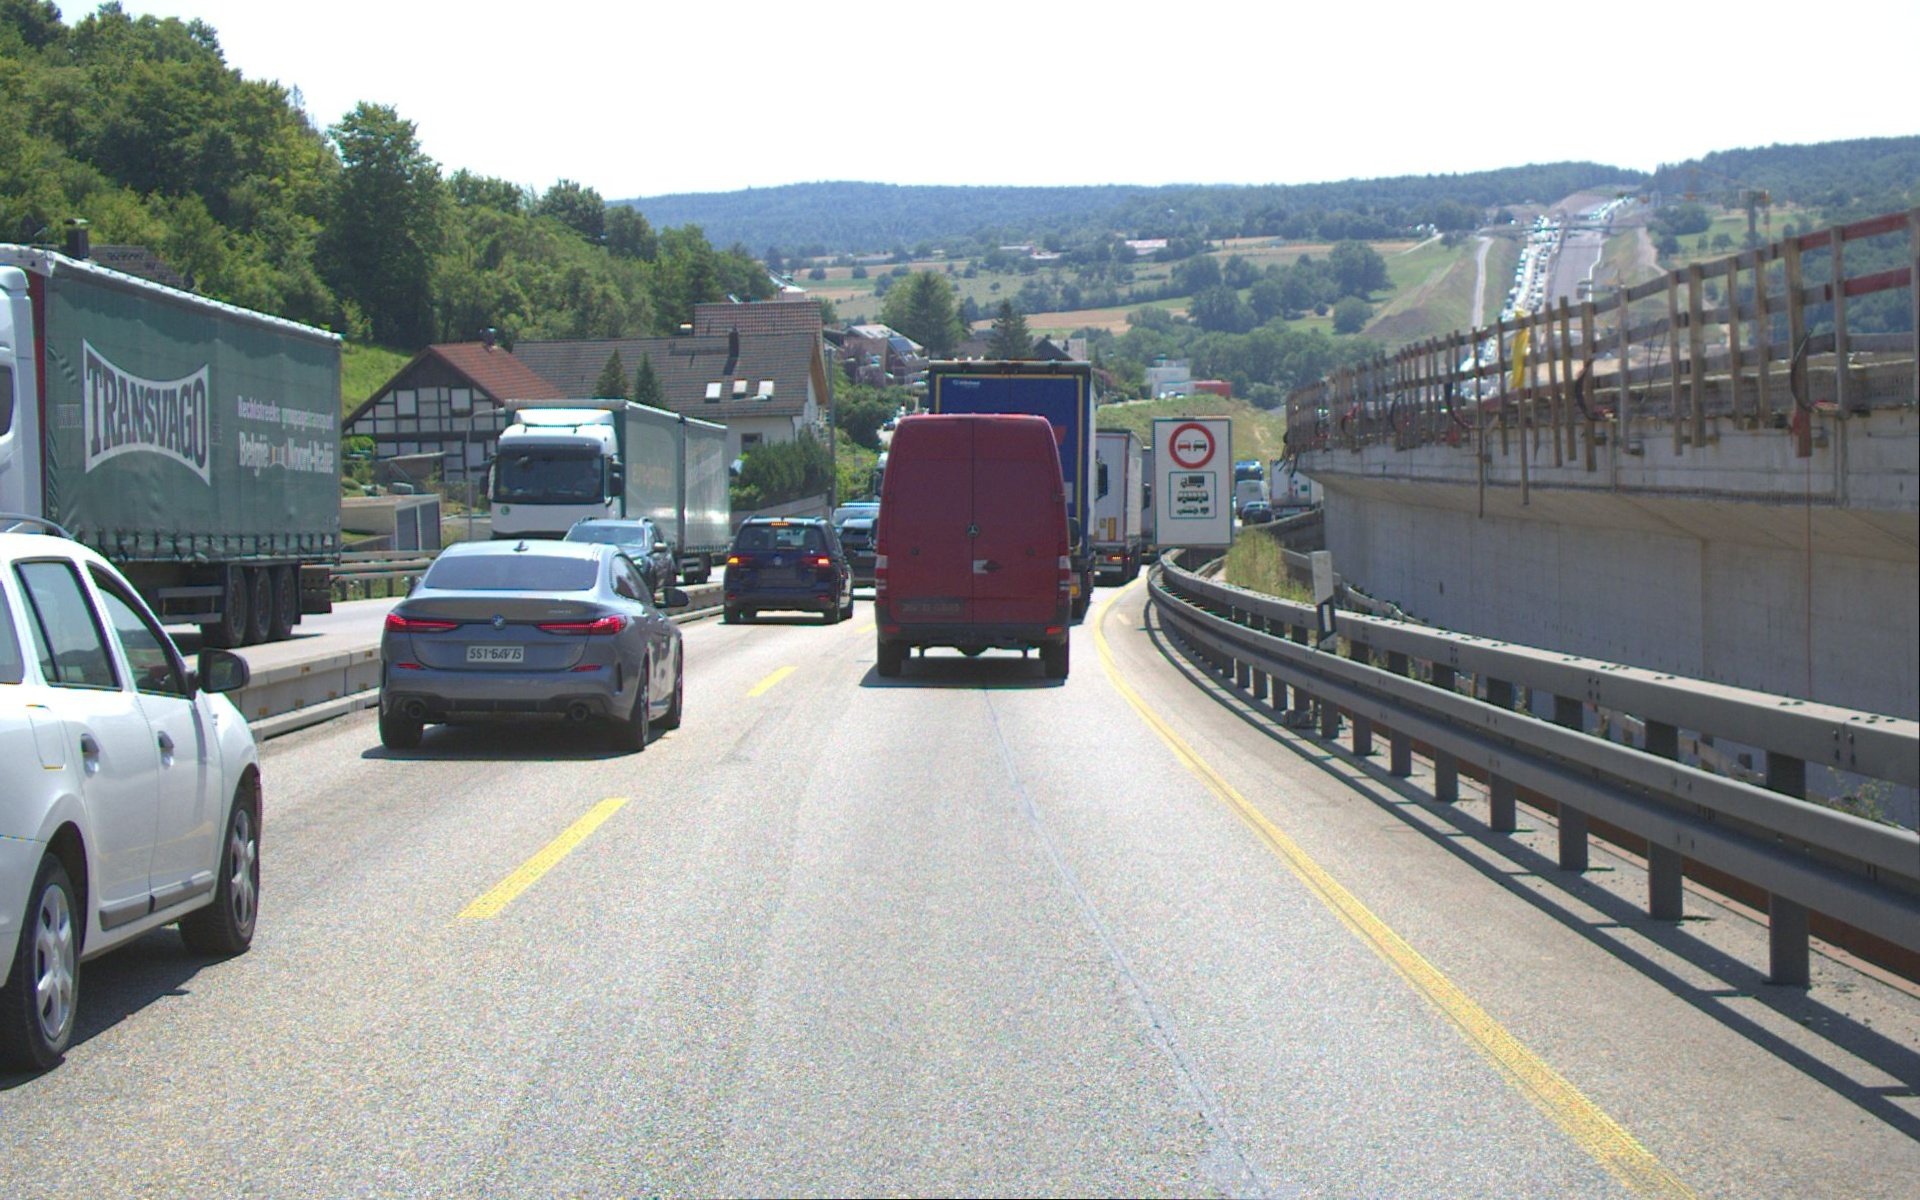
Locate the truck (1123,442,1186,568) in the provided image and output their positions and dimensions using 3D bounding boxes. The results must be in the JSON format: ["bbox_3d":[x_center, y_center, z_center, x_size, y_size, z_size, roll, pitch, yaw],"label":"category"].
[{"bbox_3d":[6.922,-3.325,122.039,1.994,4.366,3.999,1,0,6],"label":"truck"}]

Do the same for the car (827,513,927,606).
[{"bbox_3d":[-1.662,-0.814,69.984,1.729,1.832,4.000,1,0,3],"label":"car"}]

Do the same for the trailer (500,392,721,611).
[{"bbox_3d":[-7.946,-2.142,80.508,2.834,4.625,14.579,1,0,3],"label":"trailer"}]

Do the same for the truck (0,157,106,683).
[{"bbox_3d":[-10.263,-1.676,32.577,3.061,4.805,4.645,0,1,2],"label":"truck"}]

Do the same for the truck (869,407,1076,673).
[{"bbox_3d":[0.139,-0.596,35.471,1.993,2.570,4.000,1,0,1],"label":"truck"}]

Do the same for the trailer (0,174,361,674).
[{"bbox_3d":[-9.990,-1.835,40.028,3.064,4.799,14.002,0,1,2],"label":"trailer"}]

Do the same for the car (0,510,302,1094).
[{"bbox_3d":[-3.269,0.514,10.499,1.651,1.478,4.266,-2,1,0],"label":"car"}]

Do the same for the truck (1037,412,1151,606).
[{"bbox_3d":[3.495,-2.285,90.366,2.786,4.799,9.684,1,0,2],"label":"truck"}]

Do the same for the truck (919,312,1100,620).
[{"bbox_3d":[0.941,-2.122,58.567,2.786,4.799,9.684,1,0,2],"label":"truck"}]

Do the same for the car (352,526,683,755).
[{"bbox_3d":[-3.024,0.224,24.254,1.794,1.480,4.050,0,1,0],"label":"car"}]

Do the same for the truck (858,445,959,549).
[{"bbox_3d":[-2.080,-4.305,144.175,2.979,4.148,10.543,1,2,6],"label":"truck"}]

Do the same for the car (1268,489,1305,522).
[{"bbox_3d":[21.233,-6.128,223.396,2.132,2.007,3.998,1,-1,10],"label":"car"}]

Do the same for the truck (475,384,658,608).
[{"bbox_3d":[-8.322,-2.138,73.289,2.847,4.564,5.787,1,0,4],"label":"truck"}]

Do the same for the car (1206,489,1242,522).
[{"bbox_3d":[16.530,-5.897,215.398,1.804,2.007,3.998,1,1,10],"label":"car"}]

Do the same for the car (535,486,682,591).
[{"bbox_3d":[-5.819,-1.025,57.309,1.957,1.675,4.114,0,1,1],"label":"car"}]

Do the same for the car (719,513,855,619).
[{"bbox_3d":[-2.691,-0.528,54.098,1.810,1.602,3.719,1,0,2],"label":"car"}]
